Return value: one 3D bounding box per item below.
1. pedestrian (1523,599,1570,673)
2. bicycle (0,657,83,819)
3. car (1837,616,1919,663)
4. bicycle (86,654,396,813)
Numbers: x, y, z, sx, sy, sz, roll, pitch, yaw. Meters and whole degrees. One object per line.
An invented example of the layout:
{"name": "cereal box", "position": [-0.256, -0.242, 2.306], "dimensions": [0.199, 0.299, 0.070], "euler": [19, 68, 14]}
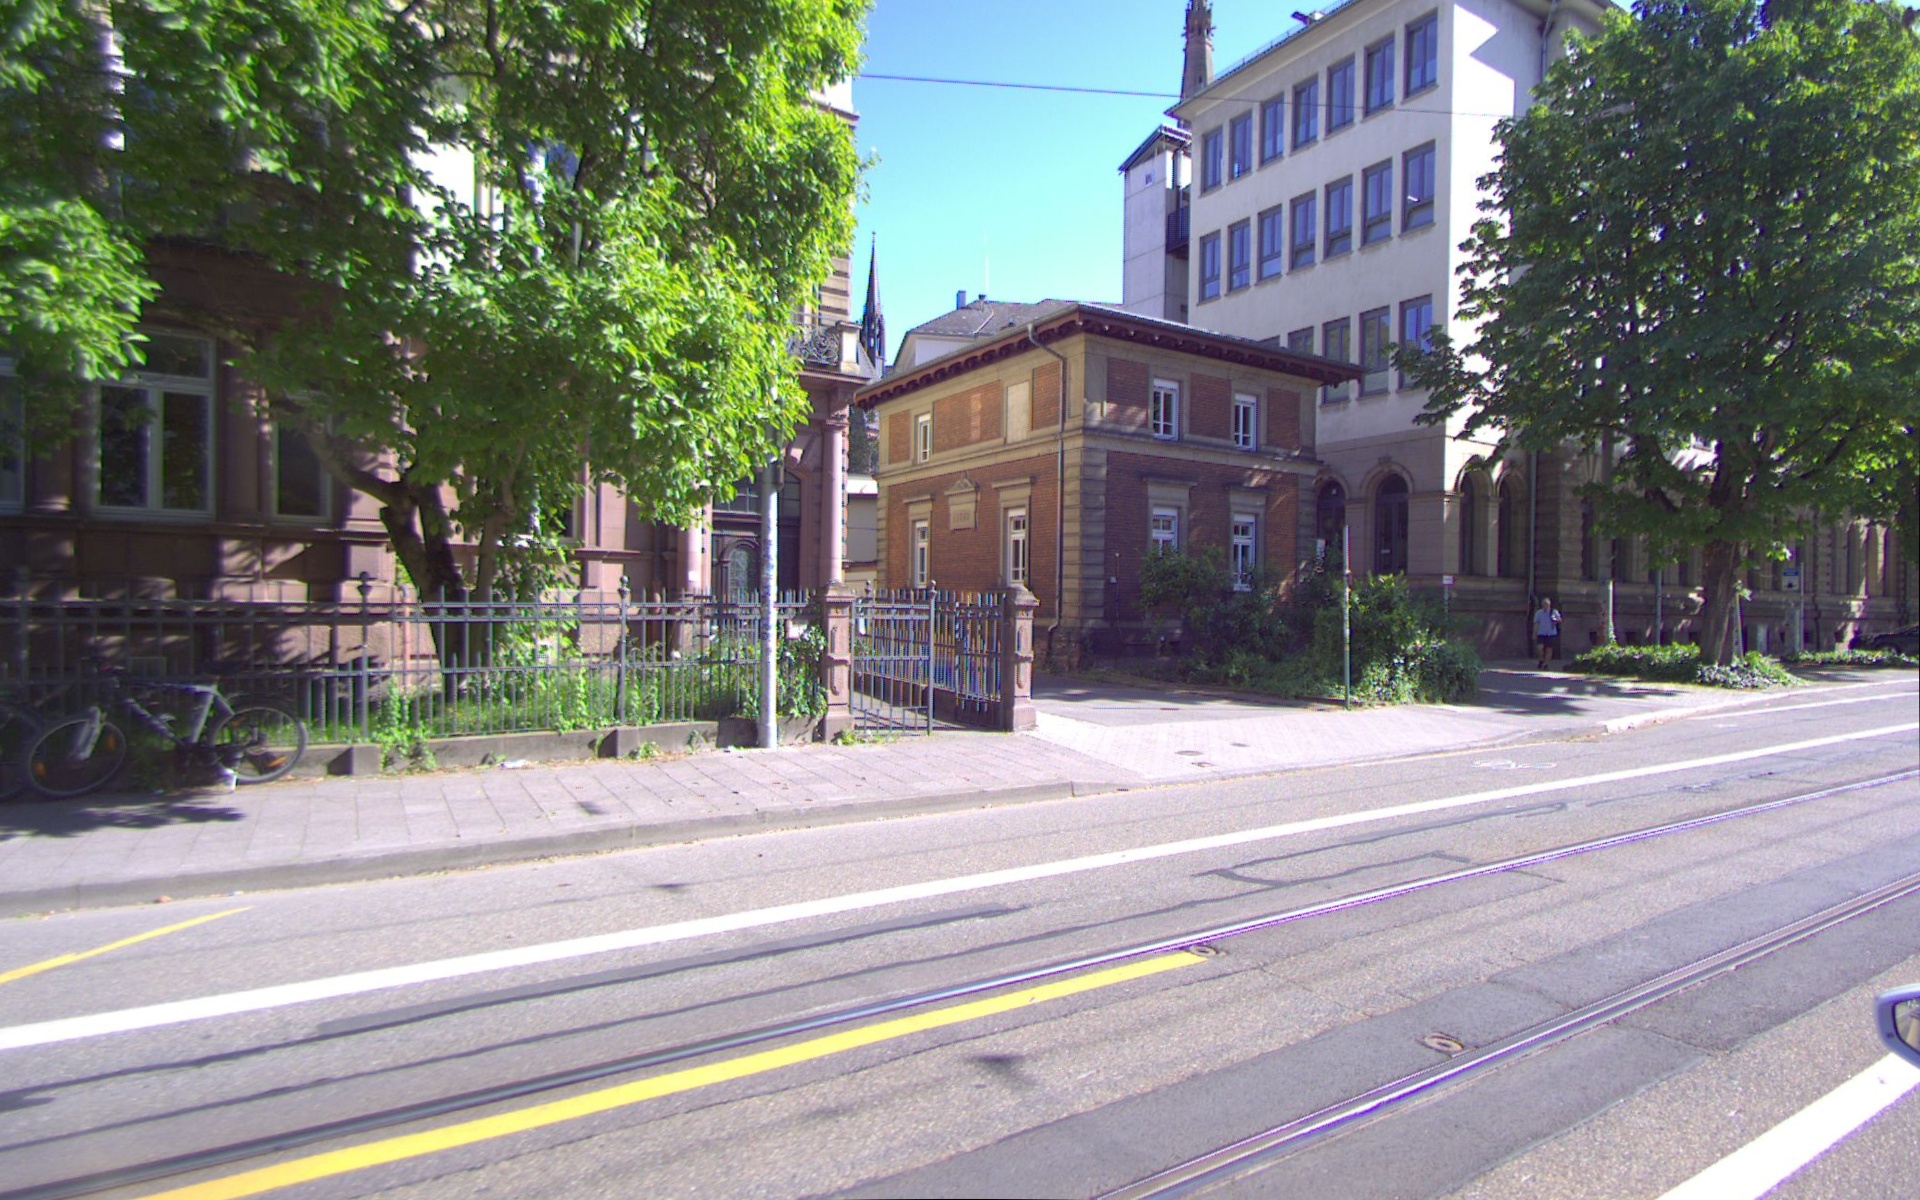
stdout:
{"name": "pedestrian", "position": [15.083, 0.908, 25.820], "dimensions": [0.773, 1.821, 0.723], "euler": [1, 3, -39]}
{"name": "bicycle", "position": [-7.248, 0.941, 6.794], "dimensions": [1.878, 1.059, 0.588], "euler": [1, 1, -24]}
{"name": "car", "position": [34.168, 1.417, 35.910], "dimensions": [3.930, 1.571, 1.873], "euler": [2, 0, 31]}
{"name": "bicycle", "position": [-5.464, 0.979, 7.786], "dimensions": [1.881, 1.059, 0.587], "euler": [1, 1, -29]}
